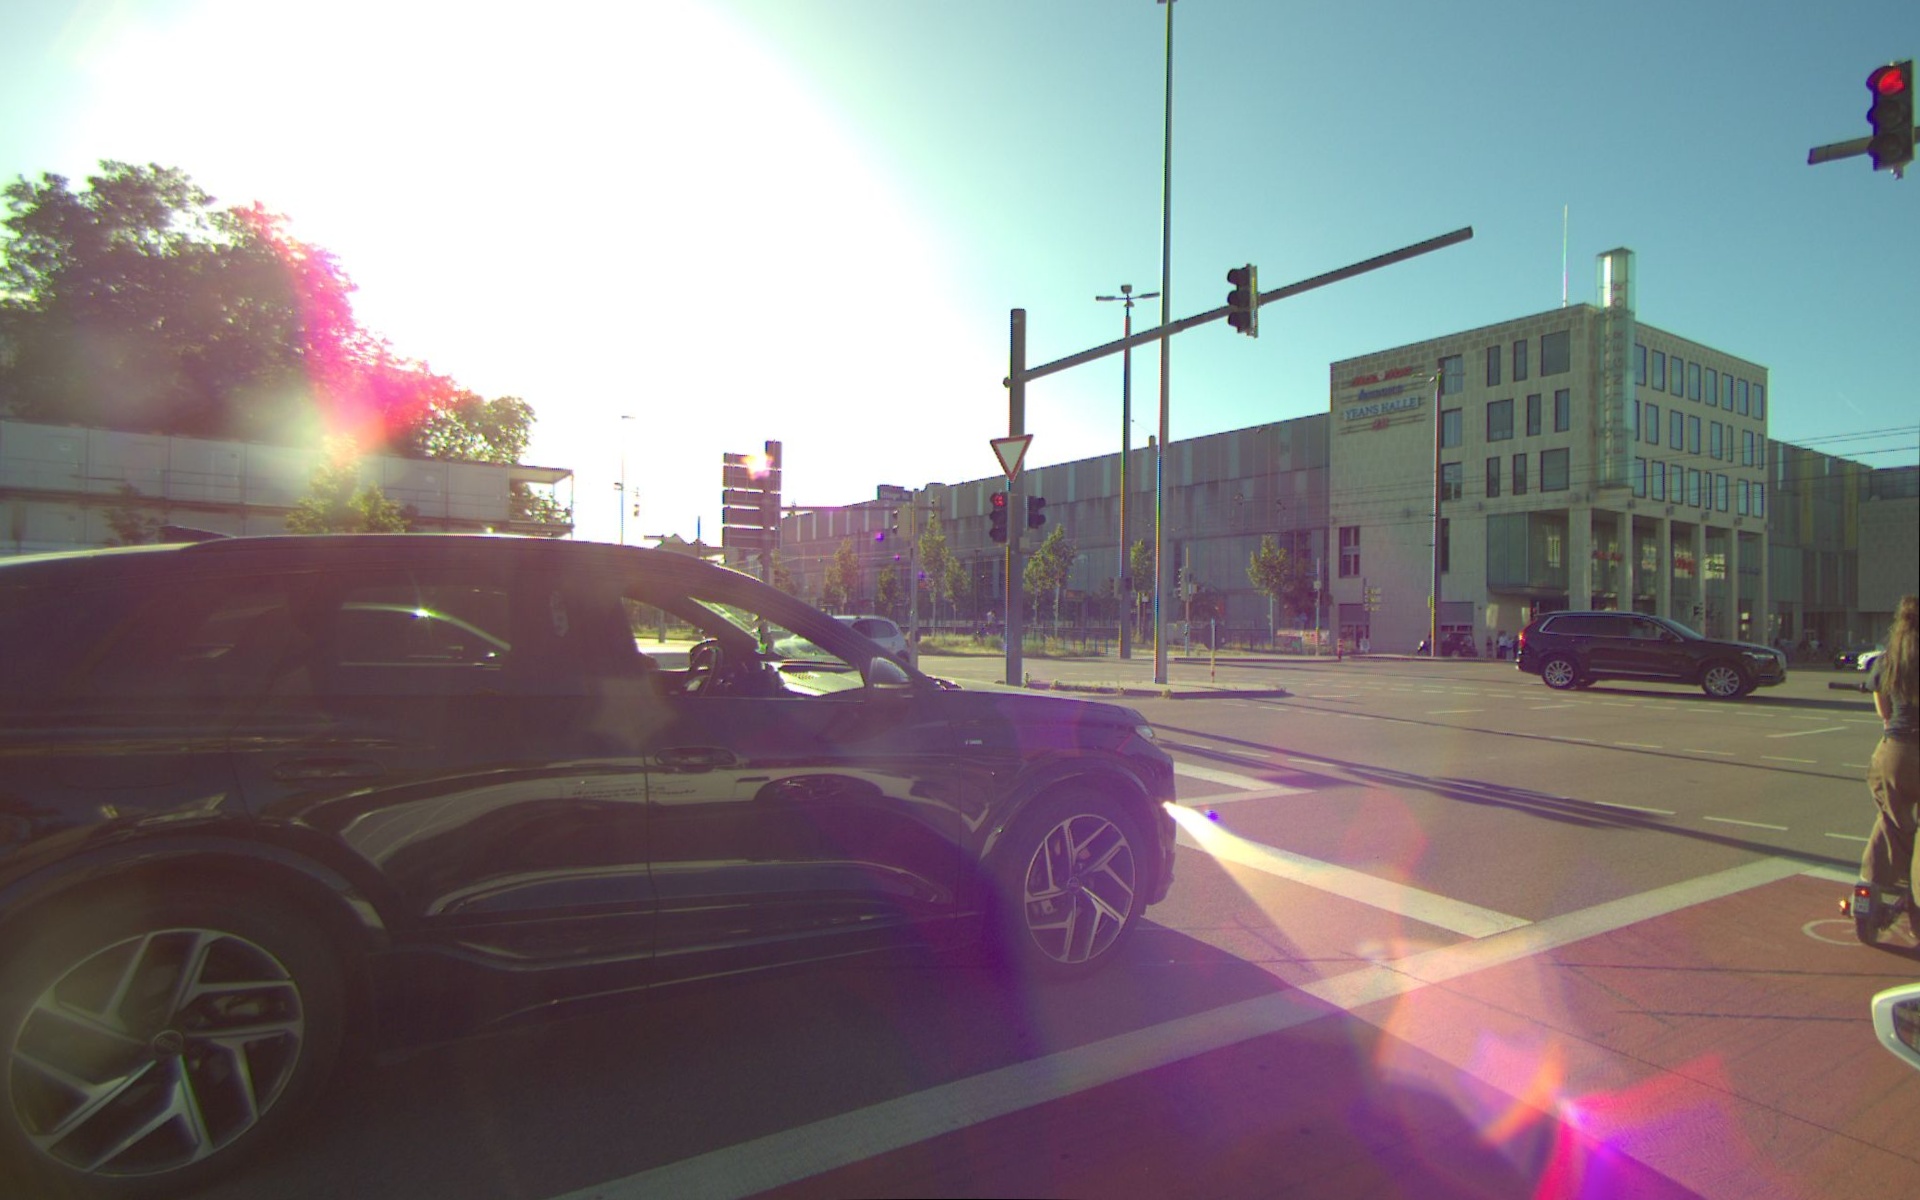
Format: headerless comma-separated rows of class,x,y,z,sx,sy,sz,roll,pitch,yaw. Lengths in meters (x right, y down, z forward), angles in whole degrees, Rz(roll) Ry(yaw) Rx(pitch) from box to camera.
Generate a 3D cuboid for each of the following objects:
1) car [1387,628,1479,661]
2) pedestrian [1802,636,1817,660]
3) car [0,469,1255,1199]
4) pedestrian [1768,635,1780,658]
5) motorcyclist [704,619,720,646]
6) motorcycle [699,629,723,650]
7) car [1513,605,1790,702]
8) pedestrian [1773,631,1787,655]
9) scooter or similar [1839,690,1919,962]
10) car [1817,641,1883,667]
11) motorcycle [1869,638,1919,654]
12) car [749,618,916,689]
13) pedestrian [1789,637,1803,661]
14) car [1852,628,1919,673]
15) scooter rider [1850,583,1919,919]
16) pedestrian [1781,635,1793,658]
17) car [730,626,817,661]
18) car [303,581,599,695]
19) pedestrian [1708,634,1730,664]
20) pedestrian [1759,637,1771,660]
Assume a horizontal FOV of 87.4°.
car,26.300,2.457,55.990,1.805,1.706,4.379,1,-2,-32
pedestrian,63.276,3.594,74.818,0.681,1.752,0.472,2,0,9
car,-1.239,0.604,4.075,4.613,1.729,2.154,1,0,-32
pedestrian,63.578,3.621,78.429,0.510,1.752,0.472,2,0,9
motorcyclist,-13.858,1.805,56.148,0.594,1.499,0.744,1,-1,-37
motorcycle,-13.965,2.198,56.309,0.643,1.115,1.940,1,-1,-37
car,15.071,1.097,22.117,1.873,1.888,4.771,2,-2,-43
pedestrian,61.728,3.237,75.638,0.615,1.752,0.472,2,0,4
scooter or similar,4.357,1.001,4.672,0.832,1.122,0.303,2,-1,-42
car,49.475,2.980,55.847,3.975,1.375,1.668,1,-1,-31
motorcycle,70.363,3.458,75.687,1.106,1.006,2.582,2,0,-38
car,-2.659,1.110,21.866,1.697,1.395,3.938,0,-1,27
pedestrian,64.180,3.753,77.125,0.616,1.752,0.471,2,0,-1
car,37.645,1.962,38.531,1.804,1.706,4.821,1,-2,-30
scooter rider,4.631,0.700,4.759,0.445,1.550,0.548,1,-1,-38
pedestrian,63.947,3.605,77.695,0.510,1.705,0.472,2,0,9
car,-9.117,2.080,48.898,1.983,1.585,5.042,2,-2,-39
car,-9.701,0.719,19.338,4.881,1.947,1.870,1,-1,-35
pedestrian,42.002,2.699,55.612,0.617,1.660,0.775,1,-1,-24
pedestrian,62.389,3.747,77.848,0.510,1.752,0.472,2,0,9
